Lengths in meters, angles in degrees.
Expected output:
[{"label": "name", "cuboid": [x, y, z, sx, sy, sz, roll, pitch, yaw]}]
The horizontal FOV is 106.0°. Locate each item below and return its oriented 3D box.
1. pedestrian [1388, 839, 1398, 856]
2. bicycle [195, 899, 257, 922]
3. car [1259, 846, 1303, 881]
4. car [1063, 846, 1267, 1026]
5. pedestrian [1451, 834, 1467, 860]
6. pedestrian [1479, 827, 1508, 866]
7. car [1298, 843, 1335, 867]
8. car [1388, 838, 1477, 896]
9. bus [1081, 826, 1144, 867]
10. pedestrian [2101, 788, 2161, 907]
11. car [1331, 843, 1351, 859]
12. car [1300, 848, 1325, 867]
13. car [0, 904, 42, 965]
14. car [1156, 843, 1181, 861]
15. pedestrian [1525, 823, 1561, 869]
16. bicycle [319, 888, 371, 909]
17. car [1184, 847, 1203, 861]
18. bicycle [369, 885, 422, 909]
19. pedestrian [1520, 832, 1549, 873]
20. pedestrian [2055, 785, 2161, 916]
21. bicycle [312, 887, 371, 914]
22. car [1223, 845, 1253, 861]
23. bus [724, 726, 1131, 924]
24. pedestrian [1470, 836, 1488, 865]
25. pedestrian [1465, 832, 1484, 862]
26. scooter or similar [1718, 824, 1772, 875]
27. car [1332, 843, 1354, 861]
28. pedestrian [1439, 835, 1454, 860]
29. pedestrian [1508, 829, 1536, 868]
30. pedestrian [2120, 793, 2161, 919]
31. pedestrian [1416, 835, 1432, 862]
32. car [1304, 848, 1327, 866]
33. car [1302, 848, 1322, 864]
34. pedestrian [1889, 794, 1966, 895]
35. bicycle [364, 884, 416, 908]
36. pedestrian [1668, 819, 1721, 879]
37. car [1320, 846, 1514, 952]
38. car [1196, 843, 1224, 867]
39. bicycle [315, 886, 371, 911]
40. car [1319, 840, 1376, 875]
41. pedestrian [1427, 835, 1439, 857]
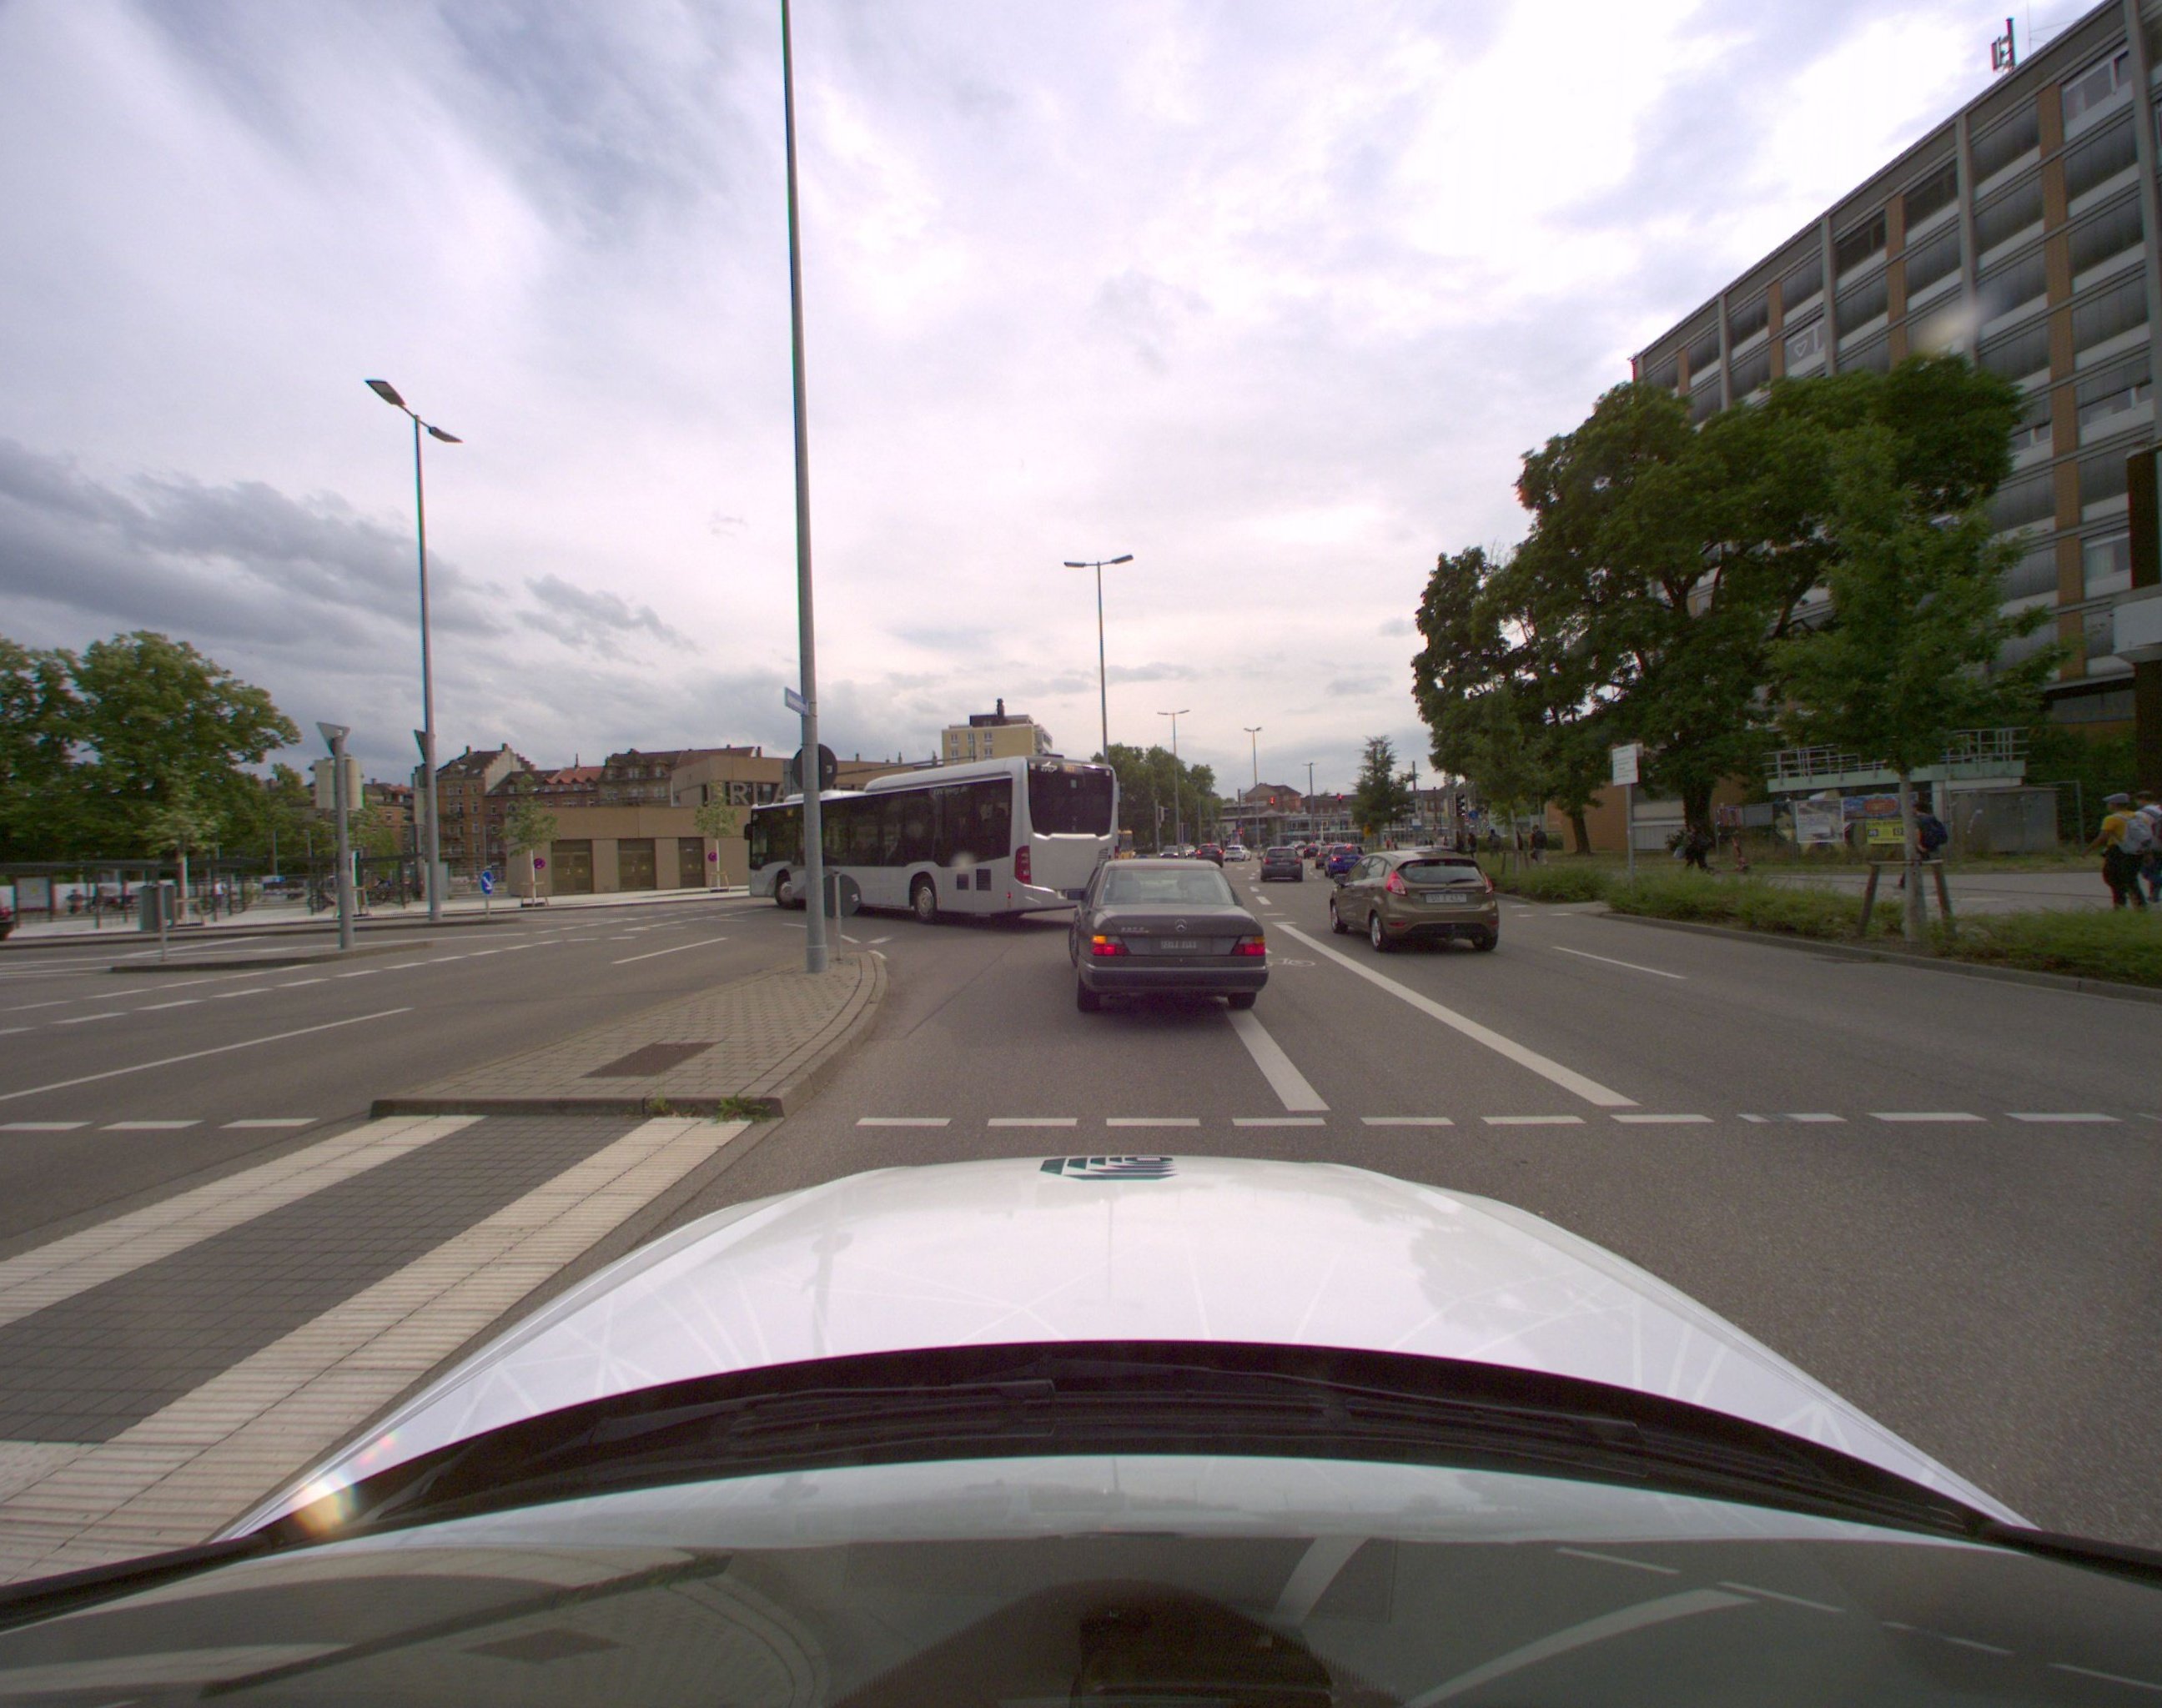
[{"label": "pedestrian", "cuboid": [30.737, -0.628, 80.215, 0.771, 1.574, 0.817, -4, -1, 23]}, {"label": "bicycle", "cuboid": [-40.142, 2.622, 38.285, 1.977, 0.955, 0.577, 0, -1, -44]}, {"label": "car", "cuboid": [8.611, 0.379, 34.905, 1.698, 1.420, 4.016, -1, 0, 15]}, {"label": "car", "cuboid": [0.772, 0.693, 8.984, 1.689, 1.480, 4.418, 0, 0, 2]}, {"label": "pedestrian", "cuboid": [23.829, -0.460, 51.340, 0.771, 1.574, 0.817, -4, -1, 23]}, {"label": "pedestrian", "cuboid": [18.288, -0.329, 36.118, 0.775, 1.711, 1.028, 0, 0, 0]}, {"label": "car", "cuboid": [14.943, 0.084, 51.550, 2.115, 1.420, 3.717, -1, 0, 17]}, {"label": "car", "cuboid": [9.873, 0.339, 23.100, 1.655, 1.508, 3.647, -1, 0, 13]}, {"label": "bus", "cuboid": [2.912, -0.574, 70.214, 3.126, 3.255, 12.457, -1, 0, 13]}, {"label": "pedestrian", "cuboid": [15.890, -0.100, 12.051, 0.636, 1.711, 0.708, -2, -1, 0]}, {"label": "car", "cuboid": [23.816, -0.257, 74.763, 1.690, 1.420, 3.717, -1, 0, 17]}, {"label": "car", "cuboid": [17.742, 0.241, 62.281, 1.697, 1.420, 4.018, -1, 0, 17]}, {"label": "car", "cuboid": [-29.326, 2.081, 20.264, 3.983, 1.486, 1.995, 0, 0, -7]}, {"label": "car", "cuboid": [8.469, -0.208, 78.679, 1.980, 1.651, 4.526, 0, 0, 12]}, {"label": "pedestrian", "cuboid": [17.739, -0.296, 31.289, 0.775, 1.711, 1.028, 0, 0, 0]}, {"label": "bicycle", "cuboid": [-37.924, 2.280, 41.971, 1.977, 0.970, 0.577, 0, -1, -44]}, {"label": "car", "cuboid": [14.045, -0.013, 101.383, 1.980, 1.651, 4.526, 0, 0, 12]}, {"label": "bicycle", "cuboid": [-34.758, 2.161, 41.321, 0.576, 1.156, 1.979, -1, -1, 40]}, {"label": "pedestrian", "cuboid": [19.273, -0.077, 34.594, 0.775, 1.711, 0.812, 0, -1, 0]}, {"label": "pedestrian", "cuboid": [14.181, -0.049, 11.198, 0.636, 1.711, 0.708, -3, -1, 0]}, {"label": "bicycle", "cuboid": [-34.509, 2.145, 38.001, 0.576, 1.156, 1.979, -1, -1, 40]}, {"label": "car", "cuboid": [14.073, -0.076, 72.894, 1.695, 1.420, 4.023, -1, 0, 25]}, {"label": "bus", "cuboid": [-4.853, -0.264, 20.144, 2.729, 3.438, 14.010, -3, 0, -43]}, {"label": "pedestrian", "cuboid": [22.121, -0.215, 45.235, 0.771, 1.574, 0.817, -4, -1, 23]}, {"label": "pedestrian", "cuboid": [20.972, -0.377, 43.418, 0.771, 1.574, 0.817, -4, -1, 23]}, {"label": "scooter or similar", "cuboid": [18.155, -0.122, 22.291, 0.398, 1.370, 1.143, 0, 0, -12]}, {"label": "car", "cuboid": [21.873, -0.162, 67.964, 1.690, 1.420, 3.717, -1, 0, 17]}, {"label": "pedestrian", "cuboid": [23.991, -0.412, 53.435, 0.771, 1.574, 0.817, -4, -1, 23]}, {"label": "pedestrian", "cuboid": [19.690, -0.238, 36.378, 0.775, 1.711, 0.812, 0, -1, 0]}, {"label": "pedestrian", "cuboid": [14.932, 0.024, 11.088, 0.636, 1.711, 0.708, 0, -1, 0]}, {"label": "pedestrian", "cuboid": [20.327, -0.327, 48.298, 0.771, 1.574, 0.817, -4, -1, 23]}, {"label": "car", "cuboid": [19.458, 0.251, 67.563, 1.697, 1.420, 4.018, -1, 0, 17]}, {"label": "car", "cuboid": [21.931, 0.168, 77.170, 1.697, 1.420, 4.018, -1, 0, 17]}, {"label": "pedestrian", "cuboid": [16.047, -0.175, 15.456, 0.636, 1.852, 0.708, -3, -1, 0]}, {"label": "bicycle", "cuboid": [-35.836, 2.173, 42.273, 0.576, 1.156, 1.979, -1, -1, 40]}, {"label": "pedestrian", "cuboid": [16.939, -0.143, 22.494, 0.775, 1.574, 0.812, -3, -1, 0]}, {"label": "car", "cuboid": [5.034, 0.611, 12.733, 1.688, 1.405, 3.703, 0, 0, 3]}, {"label": "car", "cuboid": [8.998, 0.067, 56.803, 1.823, 1.615, 3.555, 0, 0, 9]}, {"label": "bicycle", "cuboid": [-36.304, 2.167, 40.090, 0.576, 1.156, 1.979, -1, -1, 40]}, {"label": "car", "cuboid": [12.181, 0.168, 37.411, 1.847, 1.533, 4.012, 0, 0, 8]}, {"label": "pedestrian", "cuboid": [26.080, -0.591, 60.341, 0.771, 1.574, 0.817, -4, -1, 23]}]
